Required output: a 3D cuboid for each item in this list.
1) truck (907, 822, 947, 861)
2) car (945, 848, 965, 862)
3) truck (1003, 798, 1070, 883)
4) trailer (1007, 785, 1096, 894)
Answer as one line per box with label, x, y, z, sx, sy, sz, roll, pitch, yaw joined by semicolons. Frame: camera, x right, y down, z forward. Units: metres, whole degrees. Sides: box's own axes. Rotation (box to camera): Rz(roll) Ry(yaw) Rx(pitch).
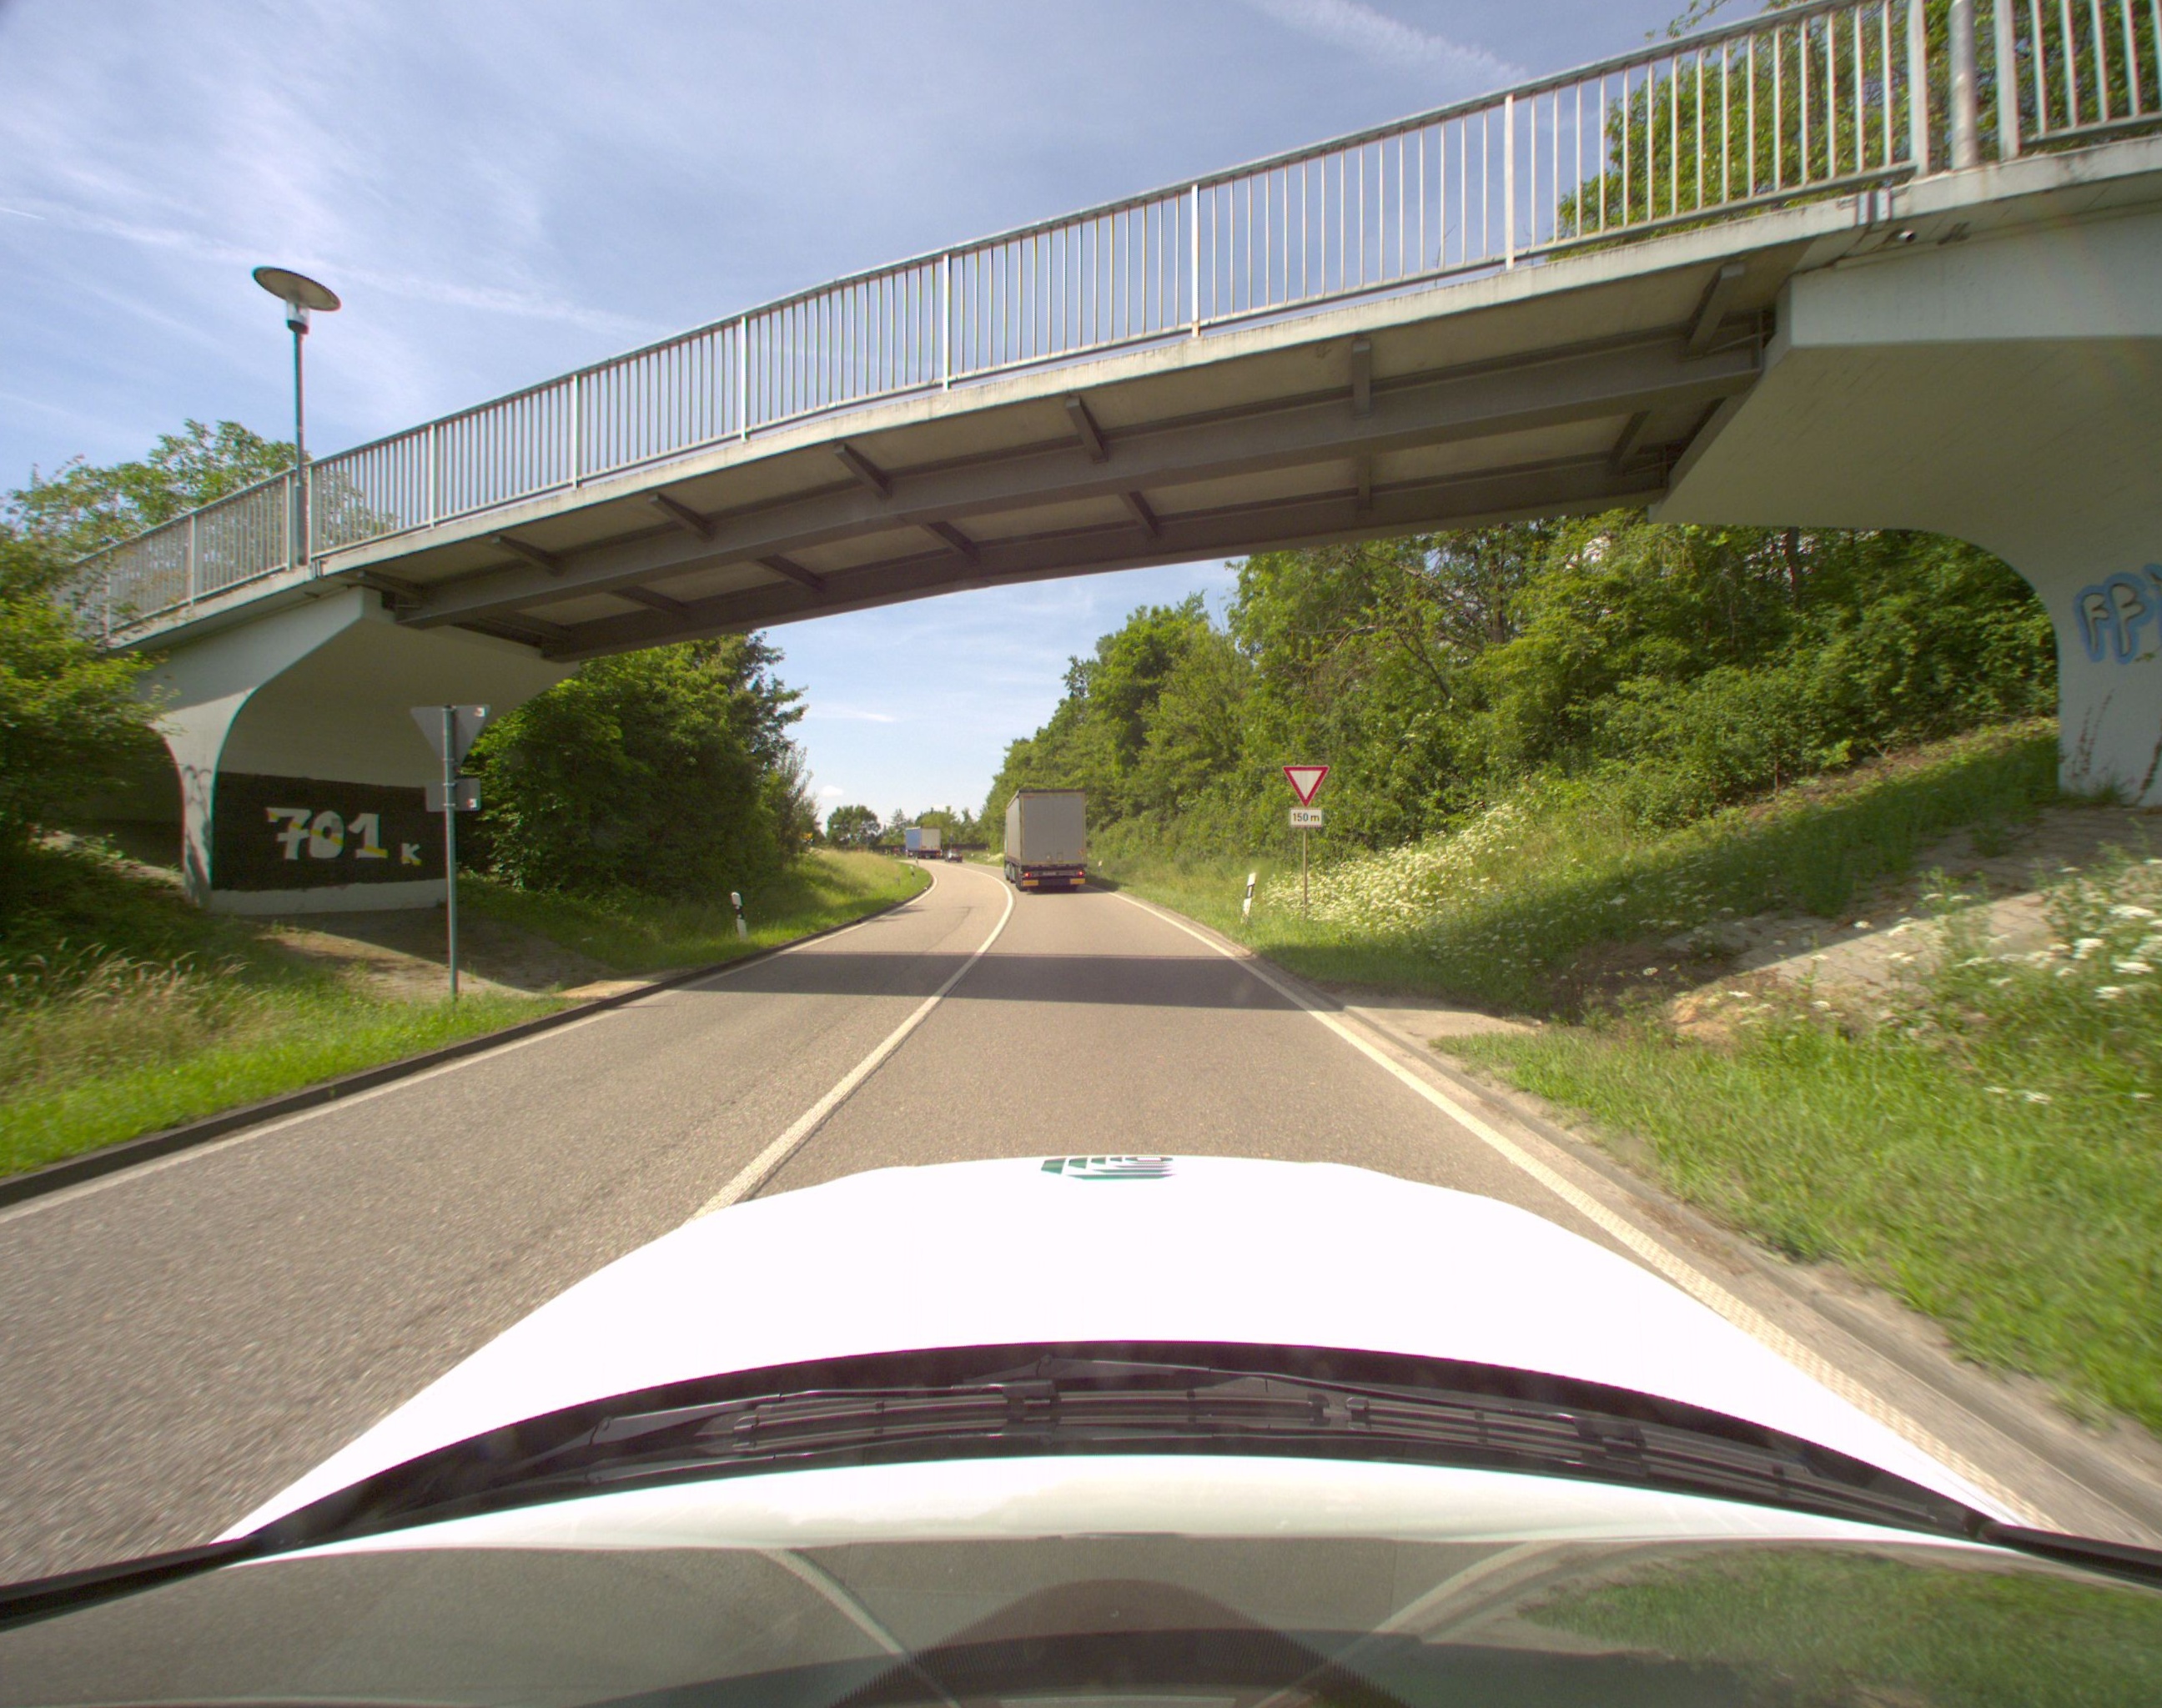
truck;-20.739;-1.655;108.825;3.836;4.744;16.116;-1;1;-16
car;-14.260;0.141;92.168;1.670;1.486;3.976;-1;1;-18
truck;-2.538;-0.662;44.064;3.149;4.224;7.105;-1;0;-7
trailer;-1.695;-0.556;37.044;3.024;4.034;13.321;-1;0;-7
